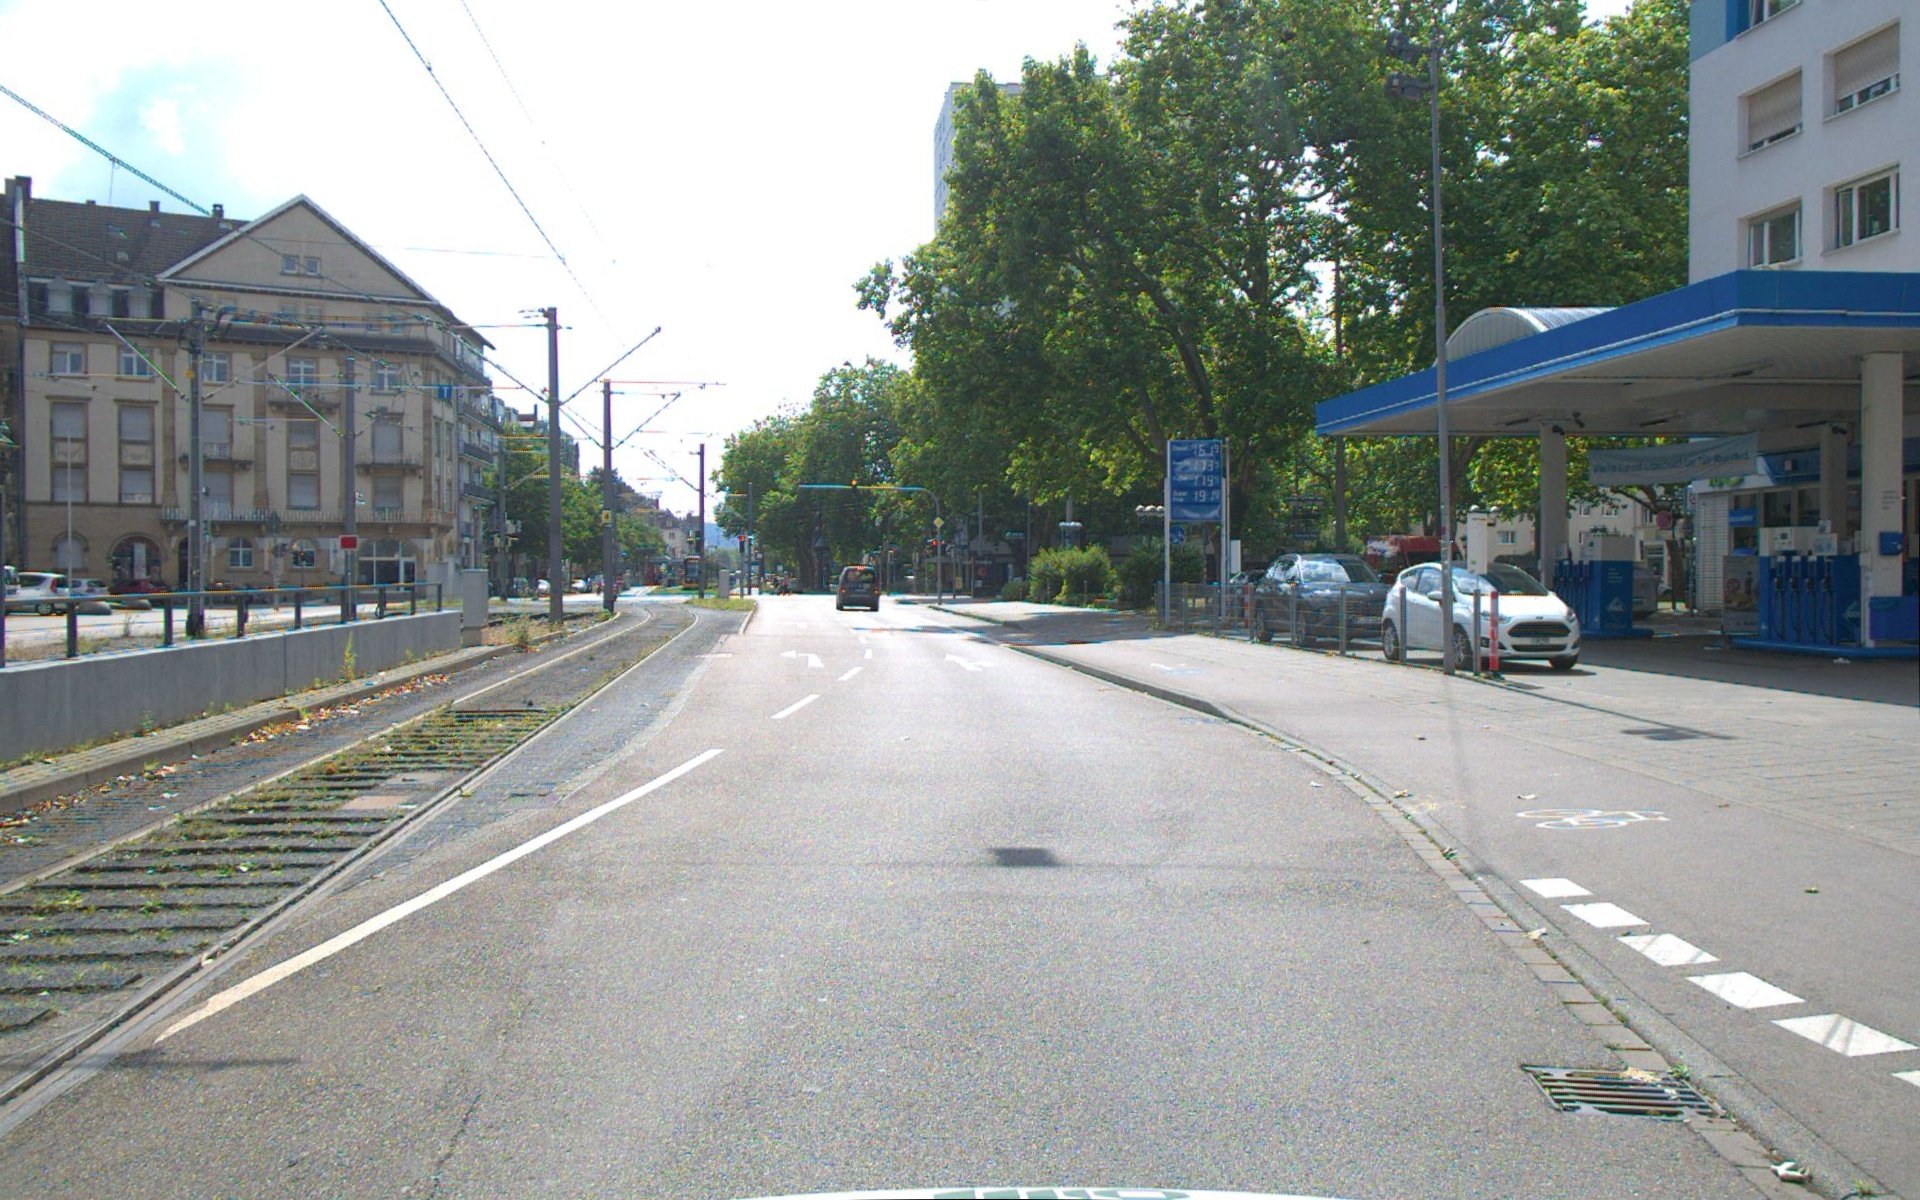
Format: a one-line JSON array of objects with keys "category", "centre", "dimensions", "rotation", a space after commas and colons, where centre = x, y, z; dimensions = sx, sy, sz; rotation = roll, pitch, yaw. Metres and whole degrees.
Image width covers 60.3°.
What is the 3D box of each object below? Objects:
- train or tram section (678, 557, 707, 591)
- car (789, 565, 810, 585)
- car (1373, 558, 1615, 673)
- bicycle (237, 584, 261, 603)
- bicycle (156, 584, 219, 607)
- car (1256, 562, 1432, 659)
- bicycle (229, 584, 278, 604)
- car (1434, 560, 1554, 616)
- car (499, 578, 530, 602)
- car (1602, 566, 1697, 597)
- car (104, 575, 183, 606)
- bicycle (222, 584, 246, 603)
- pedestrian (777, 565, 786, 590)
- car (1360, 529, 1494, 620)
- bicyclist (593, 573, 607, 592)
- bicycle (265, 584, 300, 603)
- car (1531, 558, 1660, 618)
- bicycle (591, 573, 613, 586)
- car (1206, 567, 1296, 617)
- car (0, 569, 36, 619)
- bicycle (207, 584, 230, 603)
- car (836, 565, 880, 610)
[{"category": "train or tram section", "centre": [-27.479, -2.690, 170.177], "dimensions": [2.197, 3.389, 12.956], "rotation": [-1, 1, -6]}, {"category": "car", "centre": [-15.067, -2.359, 155.212], "dimensions": [1.827, 1.783, 3.995], "rotation": [-1, 1, -6]}, {"category": "car", "centre": [7.433, 0.168, 23.467], "dimensions": [1.771, 1.481, 3.996], "rotation": [0, 1, -7]}, {"category": "bicycle", "centre": [-41.687, -0.376, 96.984], "dimensions": [0.797, 1.071, 2.534], "rotation": [-1, 1, -35]}, {"category": "bicycle", "centre": [-44.029, -0.249, 94.264], "dimensions": [3.239, 1.275, 1.000], "rotation": [0, 1, 10]}, {"category": "car", "centre": [6.866, 0.133, 30.101], "dimensions": [1.771, 1.630, 4.578], "rotation": [0, 1, -5]}, {"category": "bicycle", "centre": [-40.785, -0.348, 95.528], "dimensions": [2.535, 1.071, 0.674], "rotation": [-1, 1, -34]}, {"category": "car", "centre": [16.895, -0.409, 52.571], "dimensions": [1.967, 1.679, 4.648], "rotation": [1, 1, -5]}, {"category": "car", "centre": [-38.598, -0.883, 143.363], "dimensions": [1.955, 2.049, 3.995], "rotation": [-1, 1, -6]}, {"category": "car", "centre": [39.651, -1.068, 95.189], "dimensions": [4.589, 1.736, 2.190], "rotation": [-1, 1, -4]}, {"category": "car", "centre": [-45.897, -0.514, 92.965], "dimensions": [3.909, 1.703, 1.998], "rotation": [0, 1, 26]}, {"category": "bicycle", "centre": [-42.380, -0.380, 96.491], "dimensions": [0.797, 1.071, 2.534], "rotation": [-1, 1, -35]}, {"category": "pedestrian", "centre": [-12.940, -1.608, 119.835], "dimensions": [0.646, 1.815, 0.660], "rotation": [-1, 1, -6]}, {"category": "car", "centre": [14.372, -0.800, 51.314], "dimensions": [2.070, 2.627, 6.014], "rotation": [-1, 1, -5]}, {"category": "bicyclist", "centre": [-29.596, -1.447, 136.118], "dimensions": [0.761, 1.538, 1.002], "rotation": [0, 1, 11]}, {"category": "bicycle", "centre": [-40.120, -0.371, 97.936], "dimensions": [0.786, 1.071, 2.568], "rotation": [0, 1, 6]}, {"category": "car", "centre": [19.879, -0.397, 51.953], "dimensions": [1.967, 1.784, 4.648], "rotation": [1, 1, -5]}, {"category": "bicycle", "centre": [-29.499, -1.673, 136.289], "dimensions": [0.875, 1.066, 2.311], "rotation": [0, 1, 11]}, {"category": "car", "centre": [8.941, -0.275, 51.115], "dimensions": [1.617, 1.496, 4.037], "rotation": [-1, 1, -7]}, {"category": "car", "centre": [-35.678, -0.220, 59.507], "dimensions": [3.799, 1.779, 1.891], "rotation": [-1, 1, -10]}, {"category": "bicycle", "centre": [-43.070, -0.386, 96.054], "dimensions": [0.734, 1.071, 2.534], "rotation": [-1, 1, -35]}, {"category": "car", "centre": [-4.406, -0.547, 70.994], "dimensions": [1.717, 1.840, 3.470], "rotation": [1, 1, -6]}]
